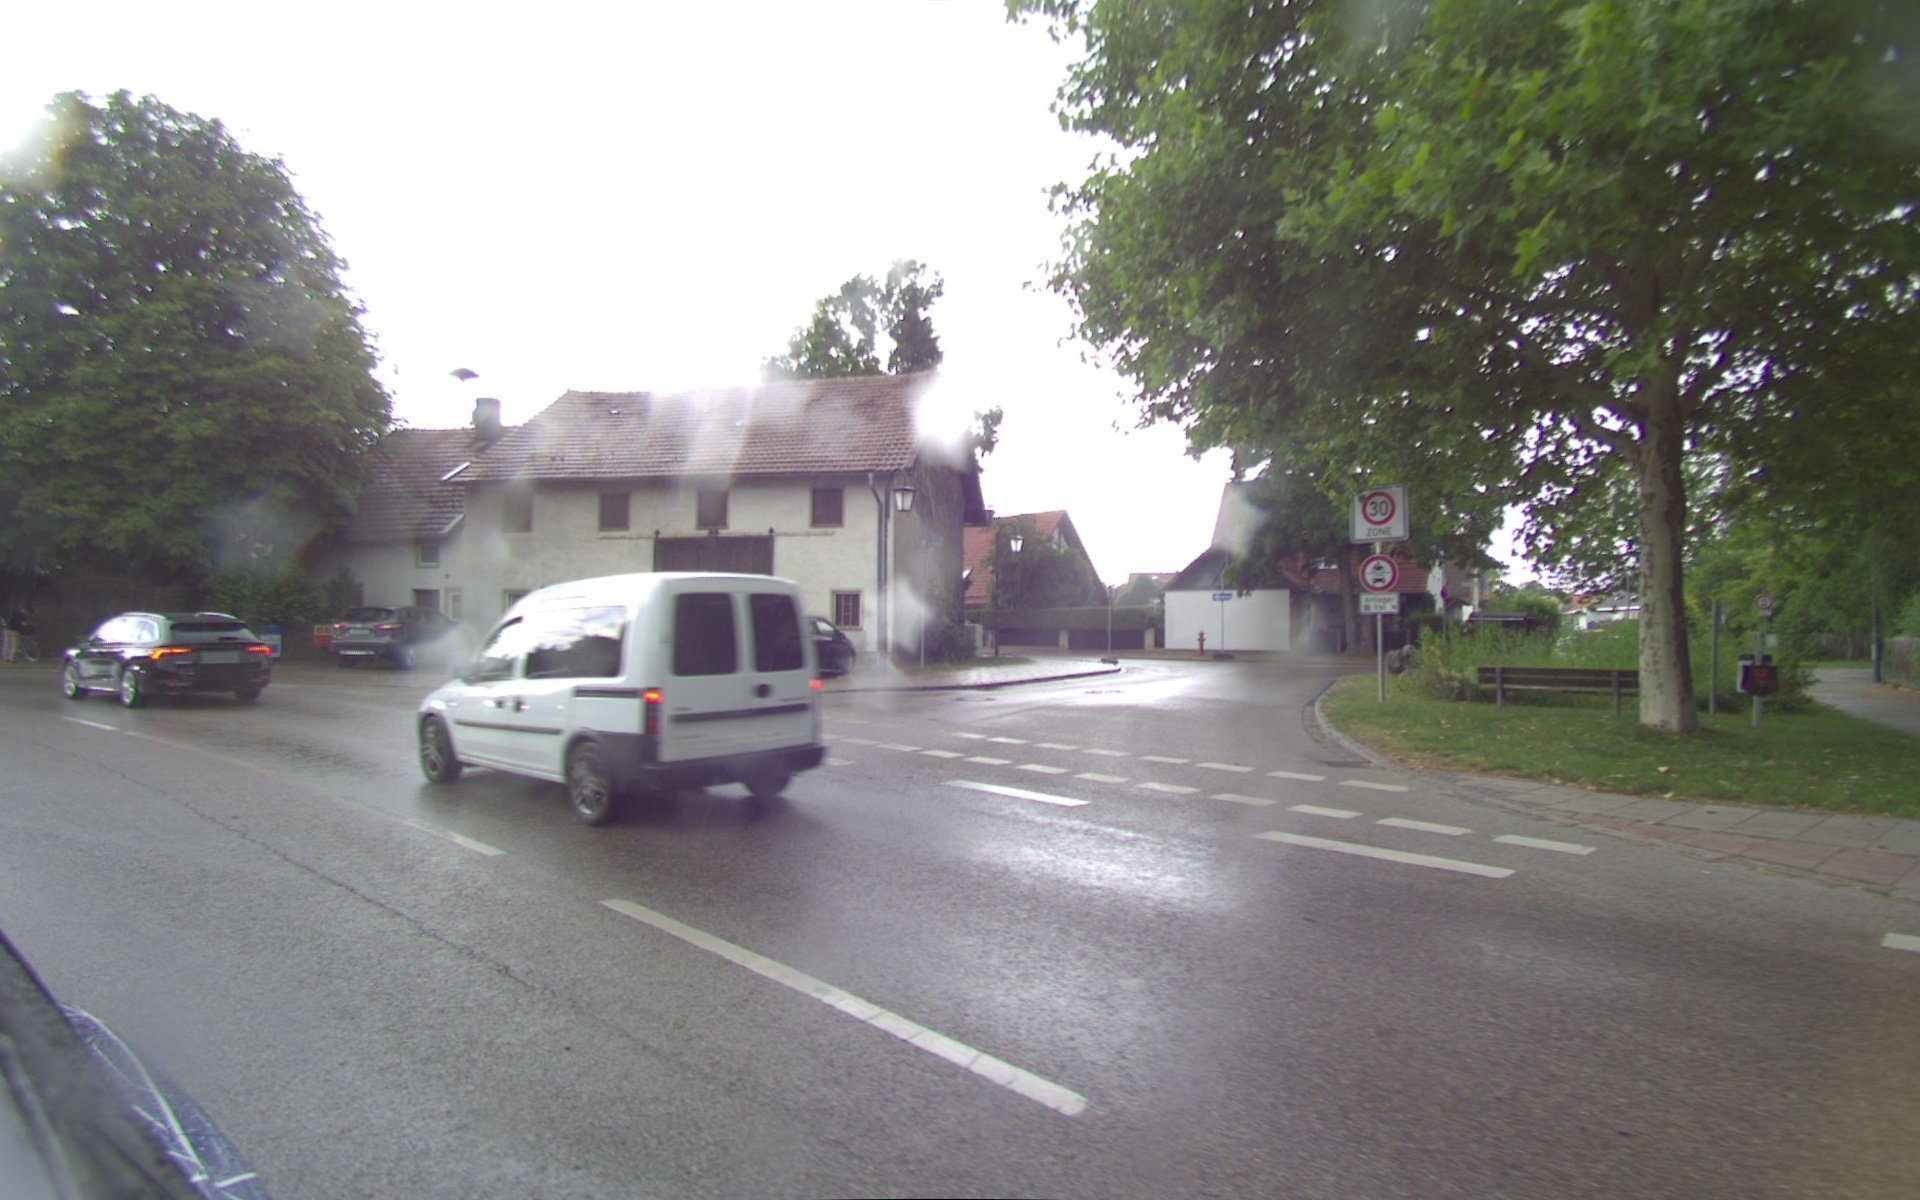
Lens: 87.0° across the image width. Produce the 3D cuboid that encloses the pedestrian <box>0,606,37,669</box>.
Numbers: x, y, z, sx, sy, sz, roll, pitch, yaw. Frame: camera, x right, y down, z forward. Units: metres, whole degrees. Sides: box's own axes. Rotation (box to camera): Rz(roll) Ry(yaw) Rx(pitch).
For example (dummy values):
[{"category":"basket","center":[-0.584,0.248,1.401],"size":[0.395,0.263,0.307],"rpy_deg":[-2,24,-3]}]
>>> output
[{"category":"pedestrian","center":[-25.000,0.994,26.861],"size":[0.642,1.640,0.480],"rpy_deg":[1,-1,-31]}]

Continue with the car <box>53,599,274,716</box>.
[{"category":"car","center":[-13.122,0.873,16.589],"size":[4.438,1.676,1.767],"rpy_deg":[-1,-1,37]}]

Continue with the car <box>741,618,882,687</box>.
[{"category":"car","center":[-3.365,1.168,23.875],"size":[1.803,1.447,4.261],"rpy_deg":[0,-1,14]}]

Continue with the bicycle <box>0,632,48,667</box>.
[{"category":"bicycle","center":[-25.994,1.343,27.459],"size":[1.847,0.909,0.664],"rpy_deg":[0,-1,-2]}]

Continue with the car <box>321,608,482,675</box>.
[{"category":"car","center":[-14.229,1.093,26.106],"size":[1.792,1.560,4.281],"rpy_deg":[1,-3,0]}]

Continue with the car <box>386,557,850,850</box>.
[{"category":"car","center":[-2.958,0.631,8.206],"size":[4.329,1.778,1.623],"rpy_deg":[0,0,41]}]

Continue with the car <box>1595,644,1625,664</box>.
[{"category":"car","center":[54.797,4.528,85.381],"size":[1.993,1.453,3.957],"rpy_deg":[0,0,32]}]

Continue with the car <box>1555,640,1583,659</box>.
[{"category":"car","center":[55.267,4.477,91.874],"size":[1.991,1.453,3.962],"rpy_deg":[0,0,28]}]
